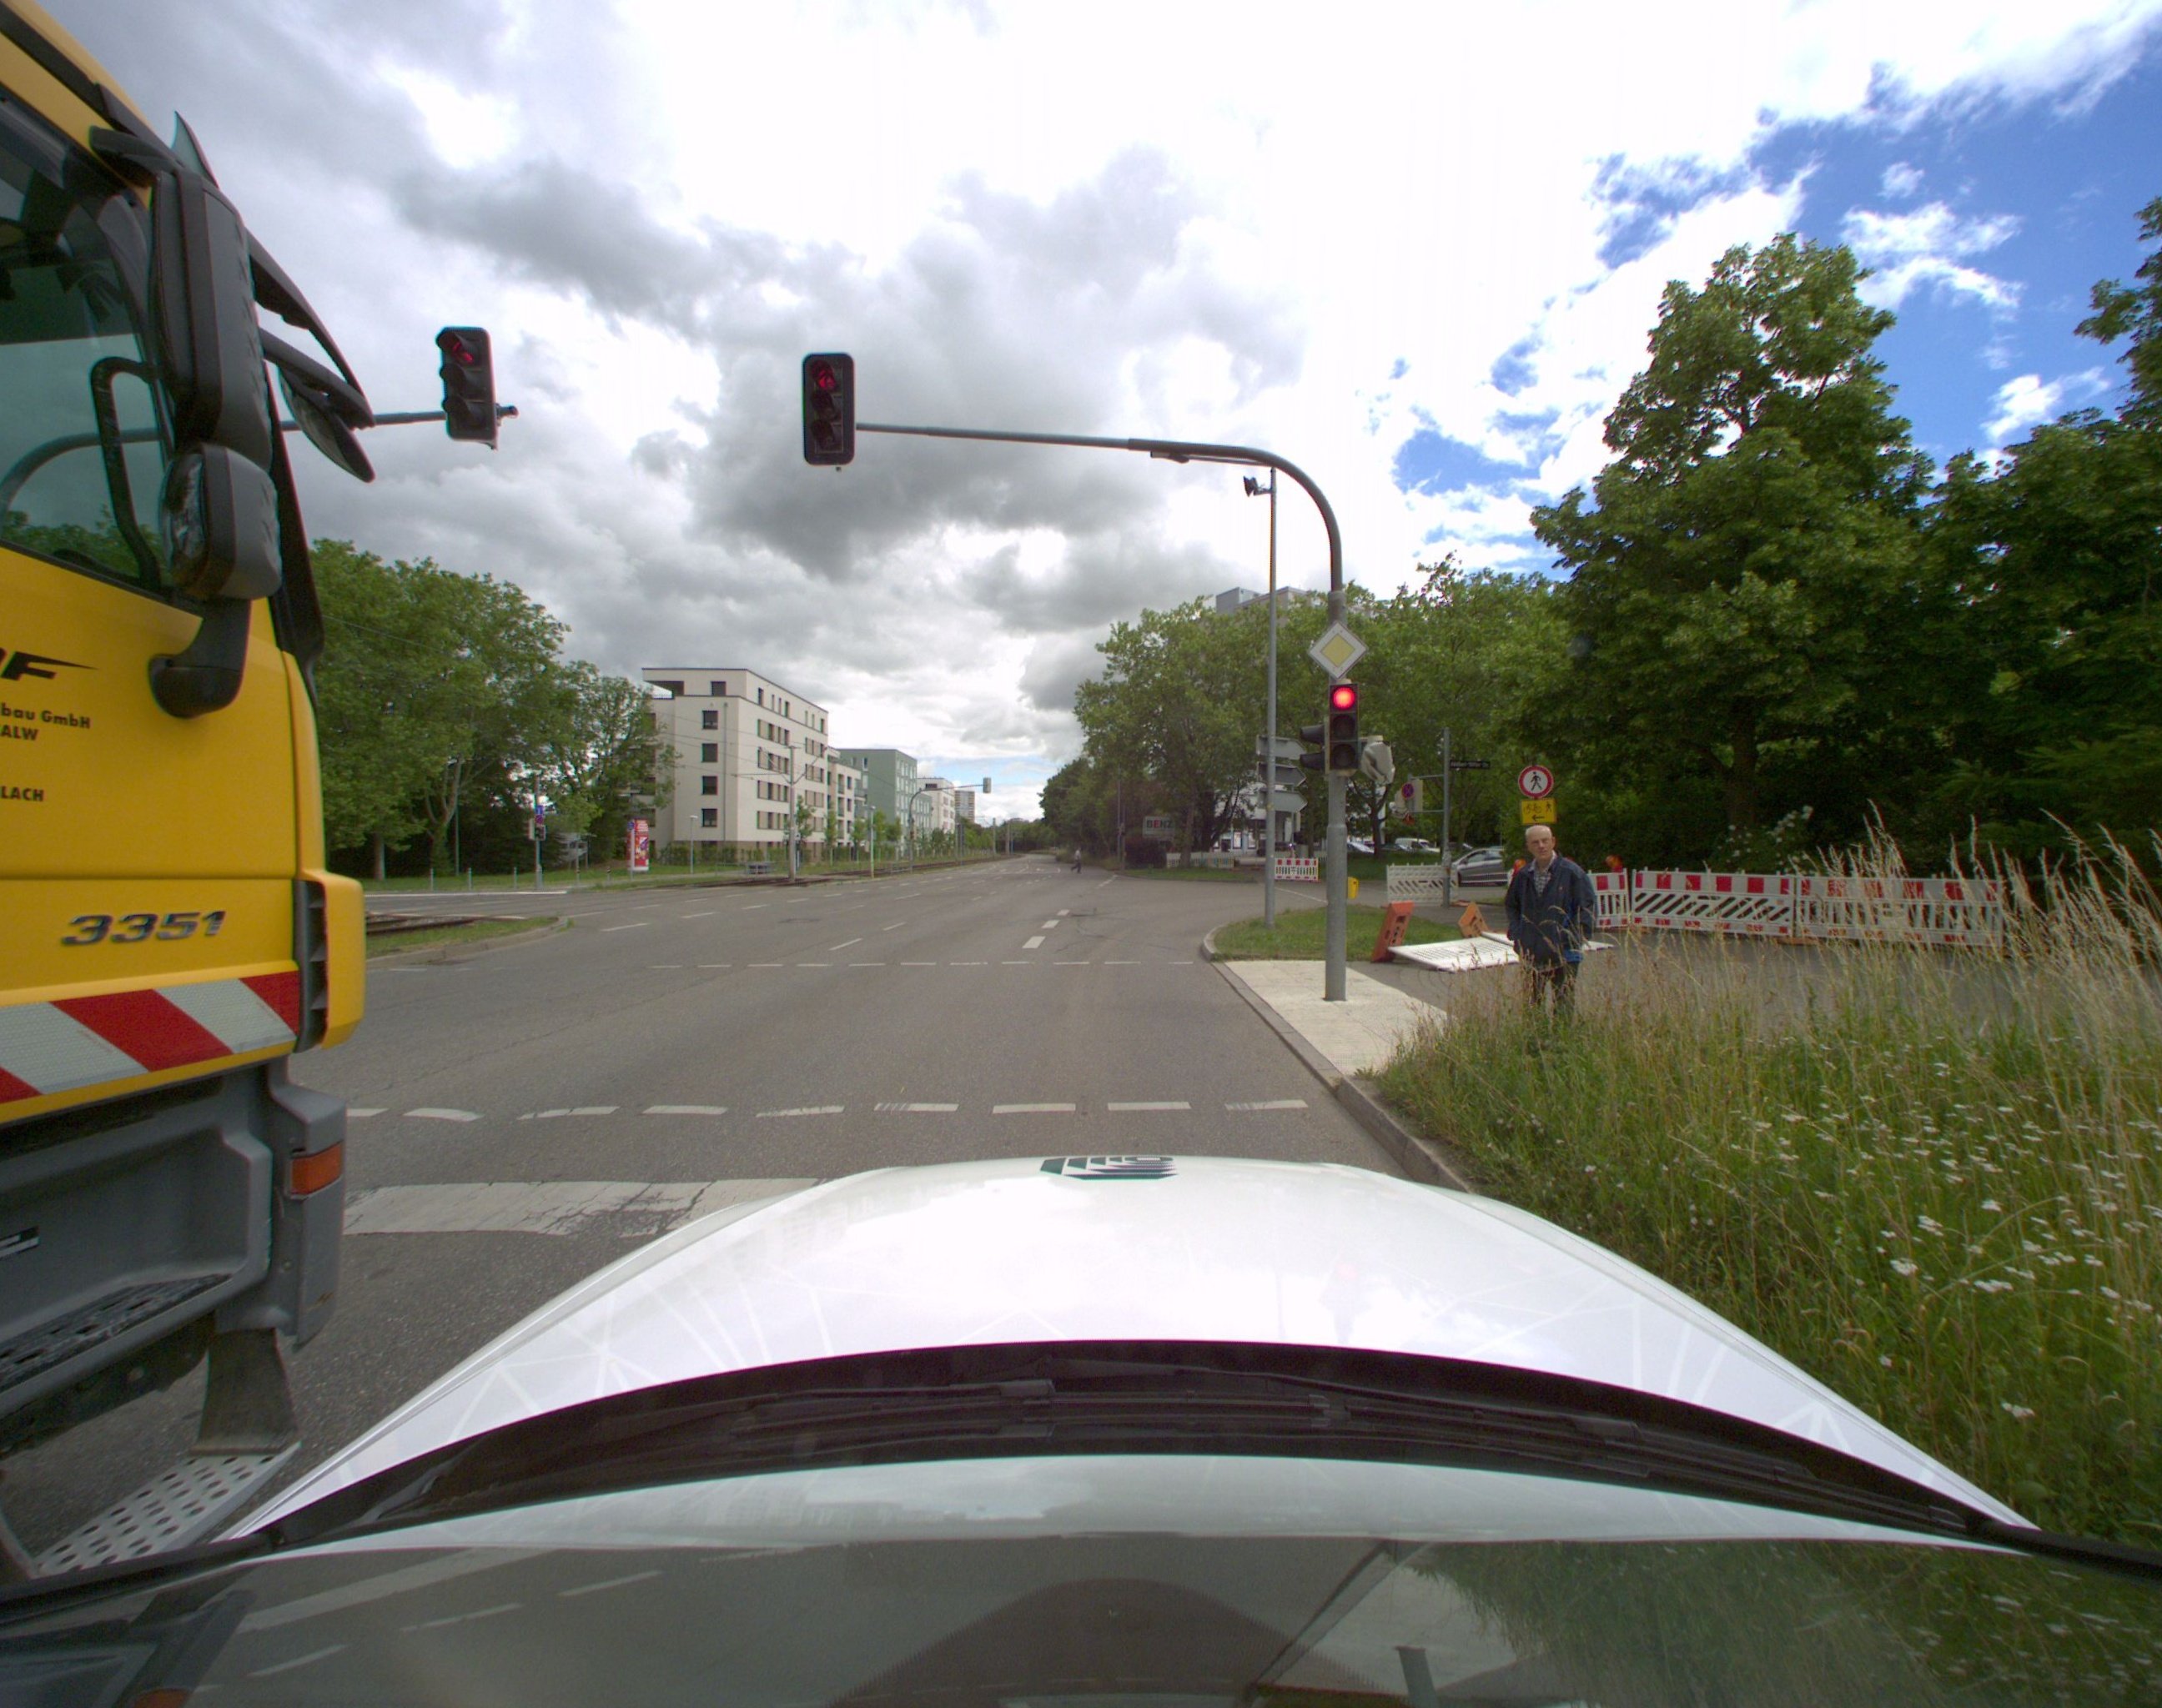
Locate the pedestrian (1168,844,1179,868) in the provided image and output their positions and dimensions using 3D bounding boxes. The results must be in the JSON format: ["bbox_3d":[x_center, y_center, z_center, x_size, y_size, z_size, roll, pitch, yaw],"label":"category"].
[{"bbox_3d":[5.885,0.113,51.896,0.650,1.539,0.774,0,-1,5],"label":"pedestrian"}]

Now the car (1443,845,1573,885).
[{"bbox_3d":[17.417,0.447,33.358,4.379,1.586,1.774,0,-1,2],"label":"car"}]

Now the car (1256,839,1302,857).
[{"bbox_3d":[17.519,-0.499,72.280,1.736,1.500,4.234,0,-1,-24],"label":"car"}]

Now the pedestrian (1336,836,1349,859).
[{"bbox_3d":[22.351,-0.549,69.592,0.802,2.002,0.852,0,-1,-3],"label":"pedestrian"}]

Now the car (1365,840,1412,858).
[{"bbox_3d":[24.320,-0.380,64.530,1.488,1.404,3.378,0,-1,-27],"label":"car"}]

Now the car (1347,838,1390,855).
[{"bbox_3d":[28.021,-0.775,79.408,1.677,1.634,3.787,0,1,-28],"label":"car"}]

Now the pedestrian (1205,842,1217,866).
[{"bbox_3d":[7.873,0.002,49.449,0.693,1.489,0.689,-1,-1,8],"label":"pedestrian"}]

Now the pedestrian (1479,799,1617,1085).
[{"bbox_3d":[3.208,0.533,5.568,0.719,1.740,0.962,-1,0,35],"label":"pedestrian"}]

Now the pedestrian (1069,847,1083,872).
[{"bbox_3d":[-0.321,0.373,52.381,0.844,1.586,0.797,0,-1,6],"label":"pedestrian"}]

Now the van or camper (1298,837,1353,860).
[{"bbox_3d":[18.481,-0.386,61.732,1.849,1.684,3.967,-1,0,-25],"label":"van or camper"}]

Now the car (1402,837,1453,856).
[{"bbox_3d":[29.021,-0.605,68.352,1.489,1.465,3.856,0,-1,-29],"label":"car"}]

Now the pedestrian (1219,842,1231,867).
[{"bbox_3d":[8.688,0.011,49.032,0.692,1.489,0.722,-1,-1,12],"label":"pedestrian"}]

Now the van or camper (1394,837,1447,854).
[{"bbox_3d":[27.533,-0.661,66.129,1.523,1.356,3.738,0,-1,-31],"label":"van or camper"}]
